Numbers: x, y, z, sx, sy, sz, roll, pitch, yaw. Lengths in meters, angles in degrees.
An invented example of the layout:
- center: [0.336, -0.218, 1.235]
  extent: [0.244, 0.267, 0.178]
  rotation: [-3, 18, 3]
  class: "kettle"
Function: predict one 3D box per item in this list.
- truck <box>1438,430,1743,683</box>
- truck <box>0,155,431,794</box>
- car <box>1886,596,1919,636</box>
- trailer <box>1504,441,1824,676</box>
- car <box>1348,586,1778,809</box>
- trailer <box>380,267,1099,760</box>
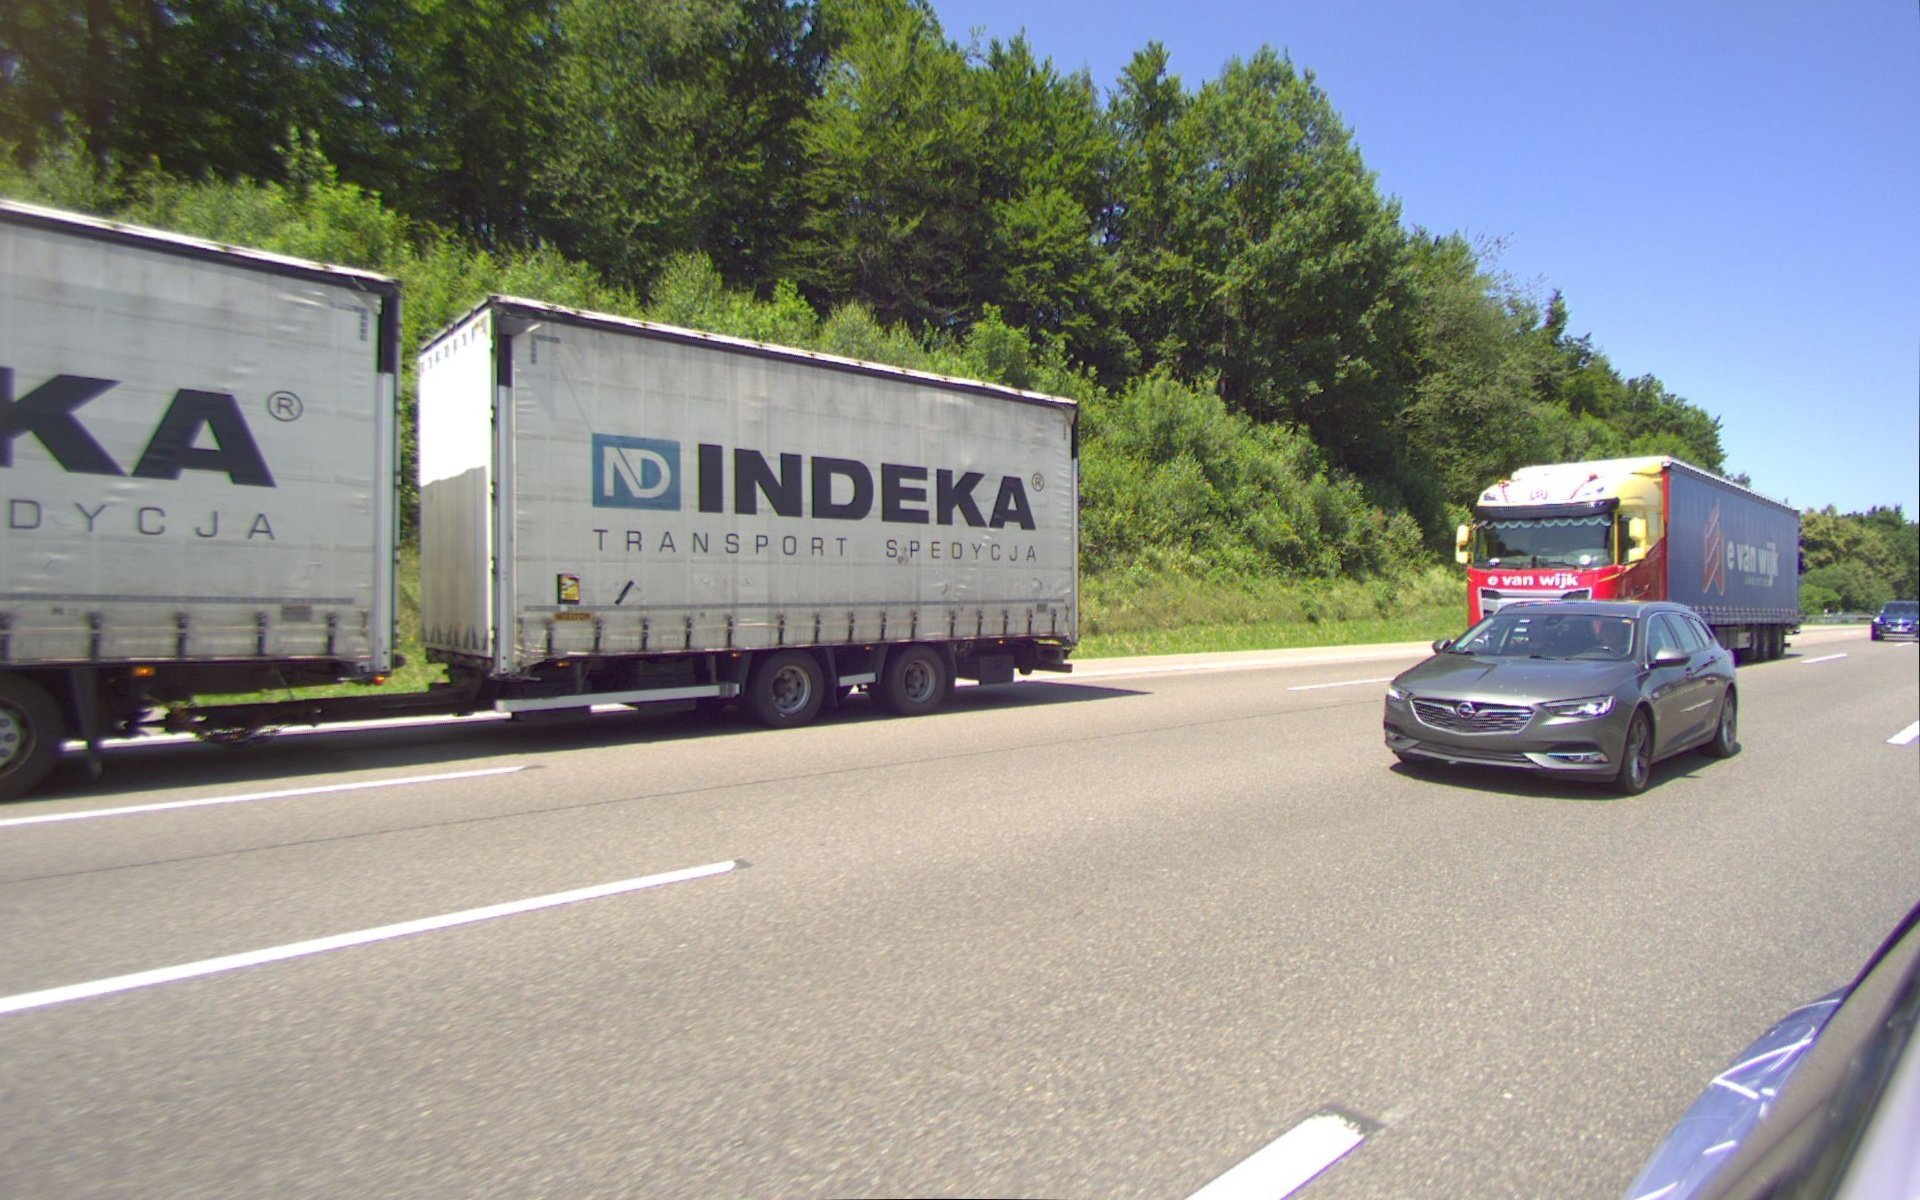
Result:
- center: [12.479, -0.728, 19.724]
  extent: [7.408, 4.031, 3.016]
  rotation: [0, 1, -41]
  class: "truck"
- center: [-9.316, -0.804, 5.850]
  extent: [10.778, 4.213, 2.726]
  rotation: [-1, 0, -41]
  class: "truck"
- center: [39.189, 0.629, 41.041]
  extent: [4.086, 1.532, 1.909]
  rotation: [-1, 0, -40]
  class: "car"
- center: [17.366, -0.810, 24.120]
  extent: [14.592, 4.194, 2.924]
  rotation: [0, 2, -42]
  class: "trailer"
- center: [5.791, 0.644, 9.376]
  extent: [5.134, 1.471, 1.970]
  rotation: [-1, 1, -42]
  class: "car"
- center: [-2.043, -0.774, 12.156]
  extent: [8.236, 4.121, 2.583]
  rotation: [-1, 0, -41]
  class: "trailer"
